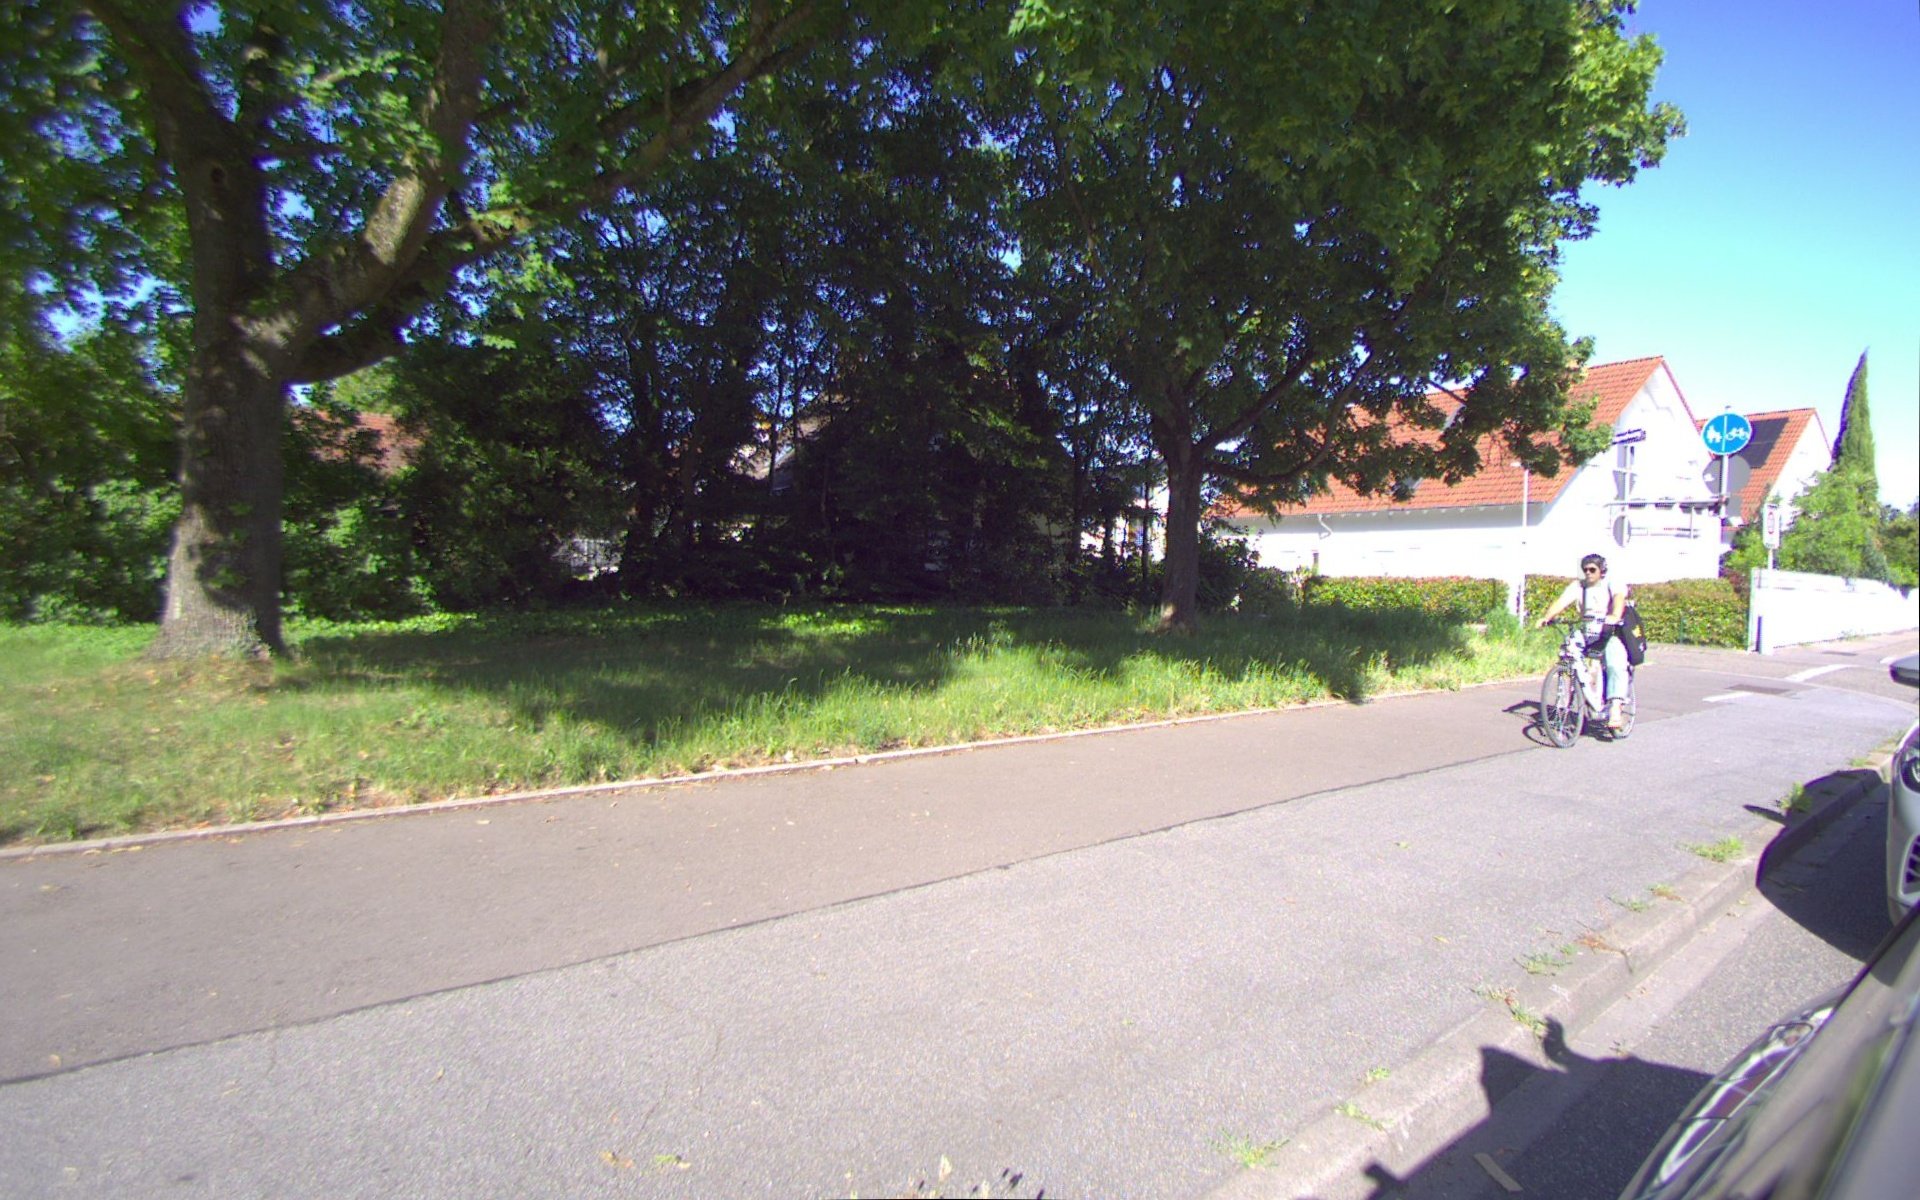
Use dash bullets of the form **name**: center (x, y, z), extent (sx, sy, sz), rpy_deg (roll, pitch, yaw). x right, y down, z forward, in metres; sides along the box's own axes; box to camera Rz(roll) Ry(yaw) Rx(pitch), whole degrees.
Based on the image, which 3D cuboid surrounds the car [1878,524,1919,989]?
- **car**: center (5.631, 0.598, 4.435), extent (4.133, 1.710, 1.857), rpy_deg (0, 3, -41)

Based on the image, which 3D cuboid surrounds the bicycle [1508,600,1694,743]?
- **bicycle**: center (5.710, 0.622, 8.973), extent (1.949, 1.111, 0.581), rpy_deg (3, 2, -34)

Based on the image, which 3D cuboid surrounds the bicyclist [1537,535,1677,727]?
- **bicyclist**: center (5.732, 0.267, 8.961), extent (0.978, 1.600, 0.581), rpy_deg (3, 2, -34)
